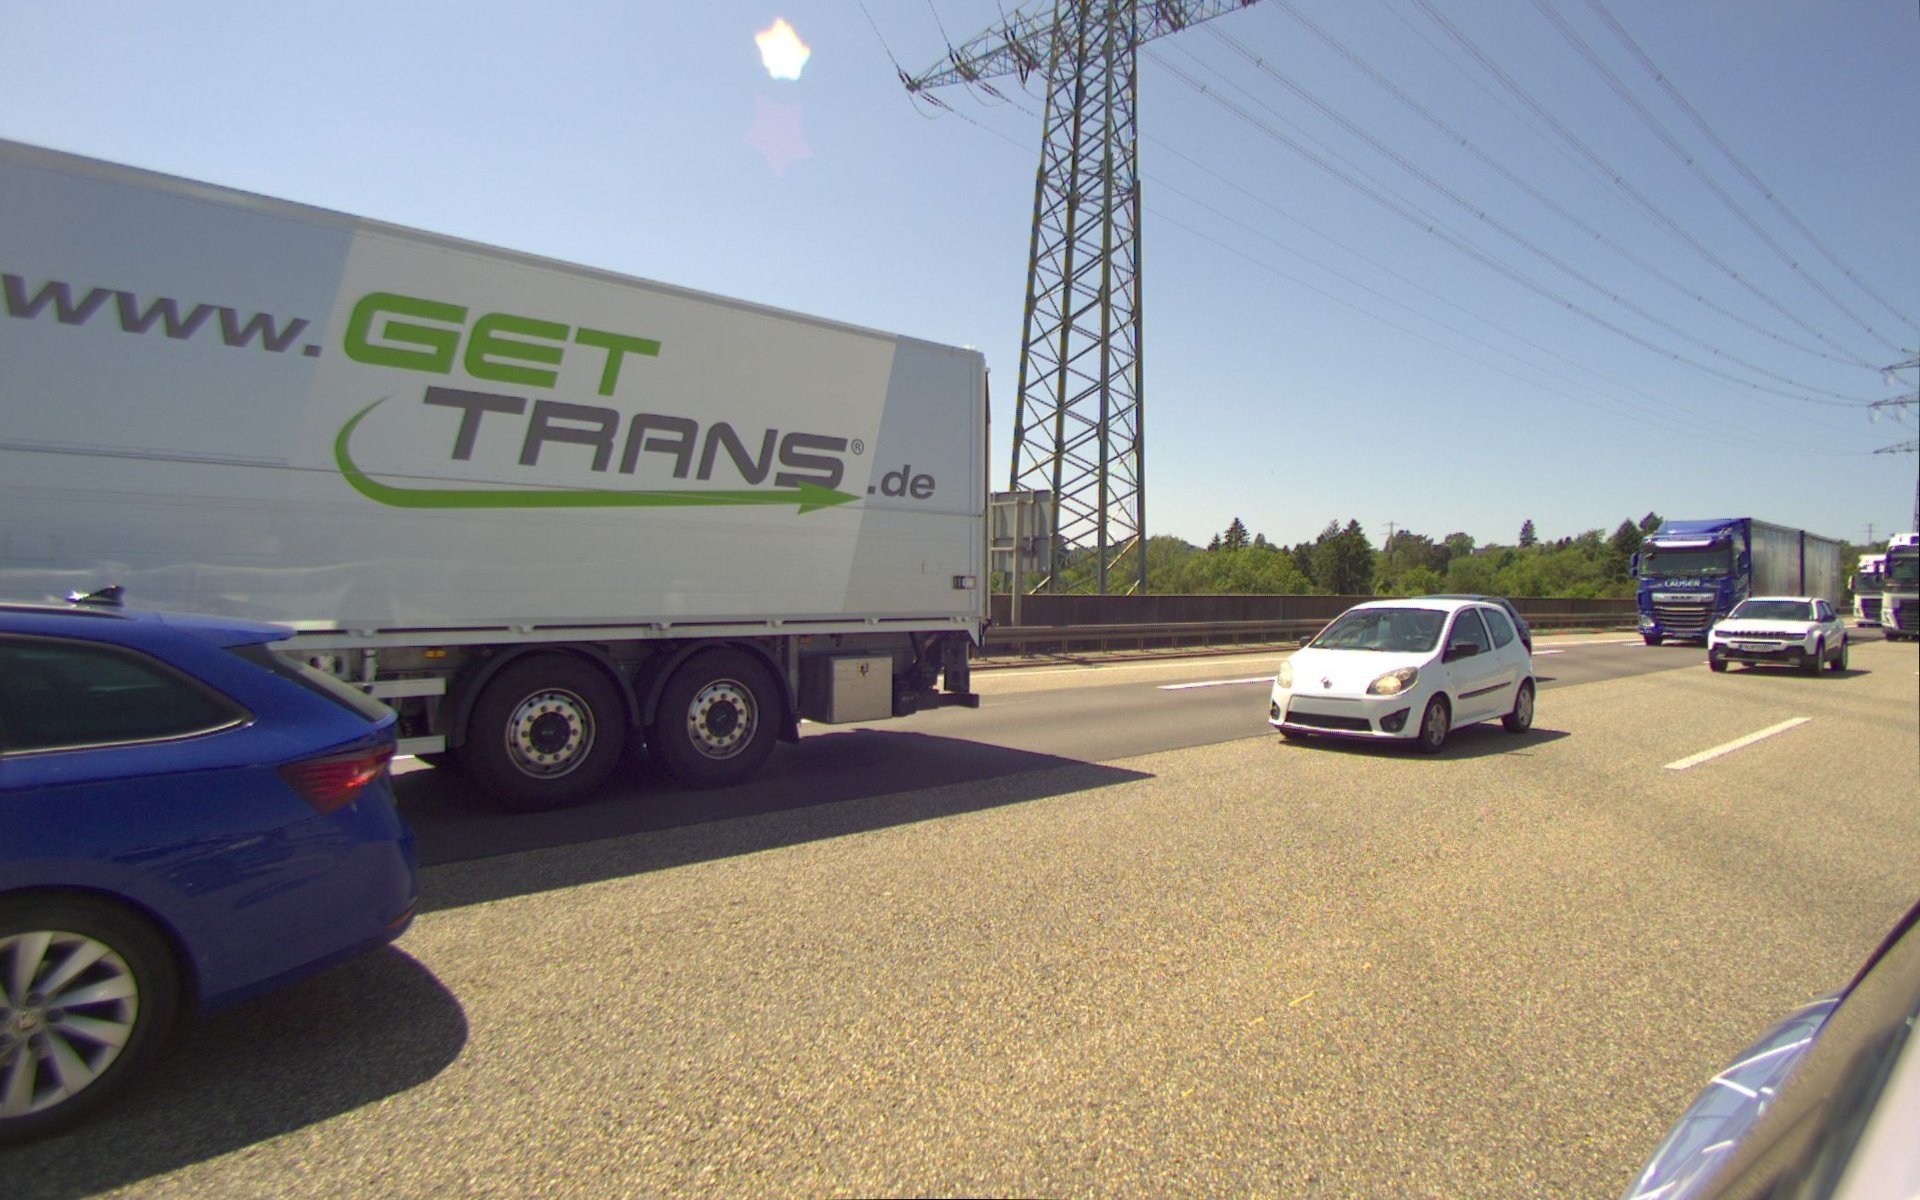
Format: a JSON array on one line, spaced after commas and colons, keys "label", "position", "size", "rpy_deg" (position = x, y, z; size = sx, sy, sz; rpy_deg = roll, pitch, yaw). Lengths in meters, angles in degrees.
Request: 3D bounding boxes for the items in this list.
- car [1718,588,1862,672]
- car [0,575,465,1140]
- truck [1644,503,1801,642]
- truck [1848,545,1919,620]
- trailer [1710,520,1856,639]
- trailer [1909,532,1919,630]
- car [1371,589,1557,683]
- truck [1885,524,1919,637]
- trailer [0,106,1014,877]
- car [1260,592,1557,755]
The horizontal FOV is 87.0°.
[{"label": "car", "position": [17.020, 0.548, 20.703], "size": [3.688, 1.554, 1.720], "rpy_deg": [0, 0, -42]}, {"label": "car", "position": [-3.848, 0.661, 2.506], "size": [4.424, 1.458, 1.712], "rpy_deg": [0, 0, -43]}, {"label": "truck", "position": [24.752, -0.802, 32.684], "size": [7.789, 4.018, 2.515], "rpy_deg": [0, 0, -41]}, {"label": "truck", "position": [52.029, -0.941, 56.437], "size": [6.624, 3.941, 2.911], "rpy_deg": [-1, 0, -41]}, {"label": "trailer", "position": [31.730, -0.771, 38.800], "size": [10.696, 4.044, 2.541], "rpy_deg": [-1, 0, -41]}, {"label": "trailer", "position": [42.539, -0.821, 42.552], "size": [9.604, 3.918, 2.895], "rpy_deg": [-1, 0, -41]}, {"label": "car", "position": [9.251, 0.578, 18.465], "size": [3.820, 1.524, 1.708], "rpy_deg": [0, 0, -41]}, {"label": "truck", "position": [36.441, -0.731, 37.177], "size": [6.624, 3.941, 2.911], "rpy_deg": [-1, 0, -41]}, {"label": "trailer", "position": [-3.481, -0.520, 7.606], "size": [8.148, 3.640, 2.849], "rpy_deg": [0, 0, -42]}, {"label": "car", "position": [4.913, 0.652, 10.893], "size": [3.566, 1.458, 1.582], "rpy_deg": [0, 0, -41]}]
